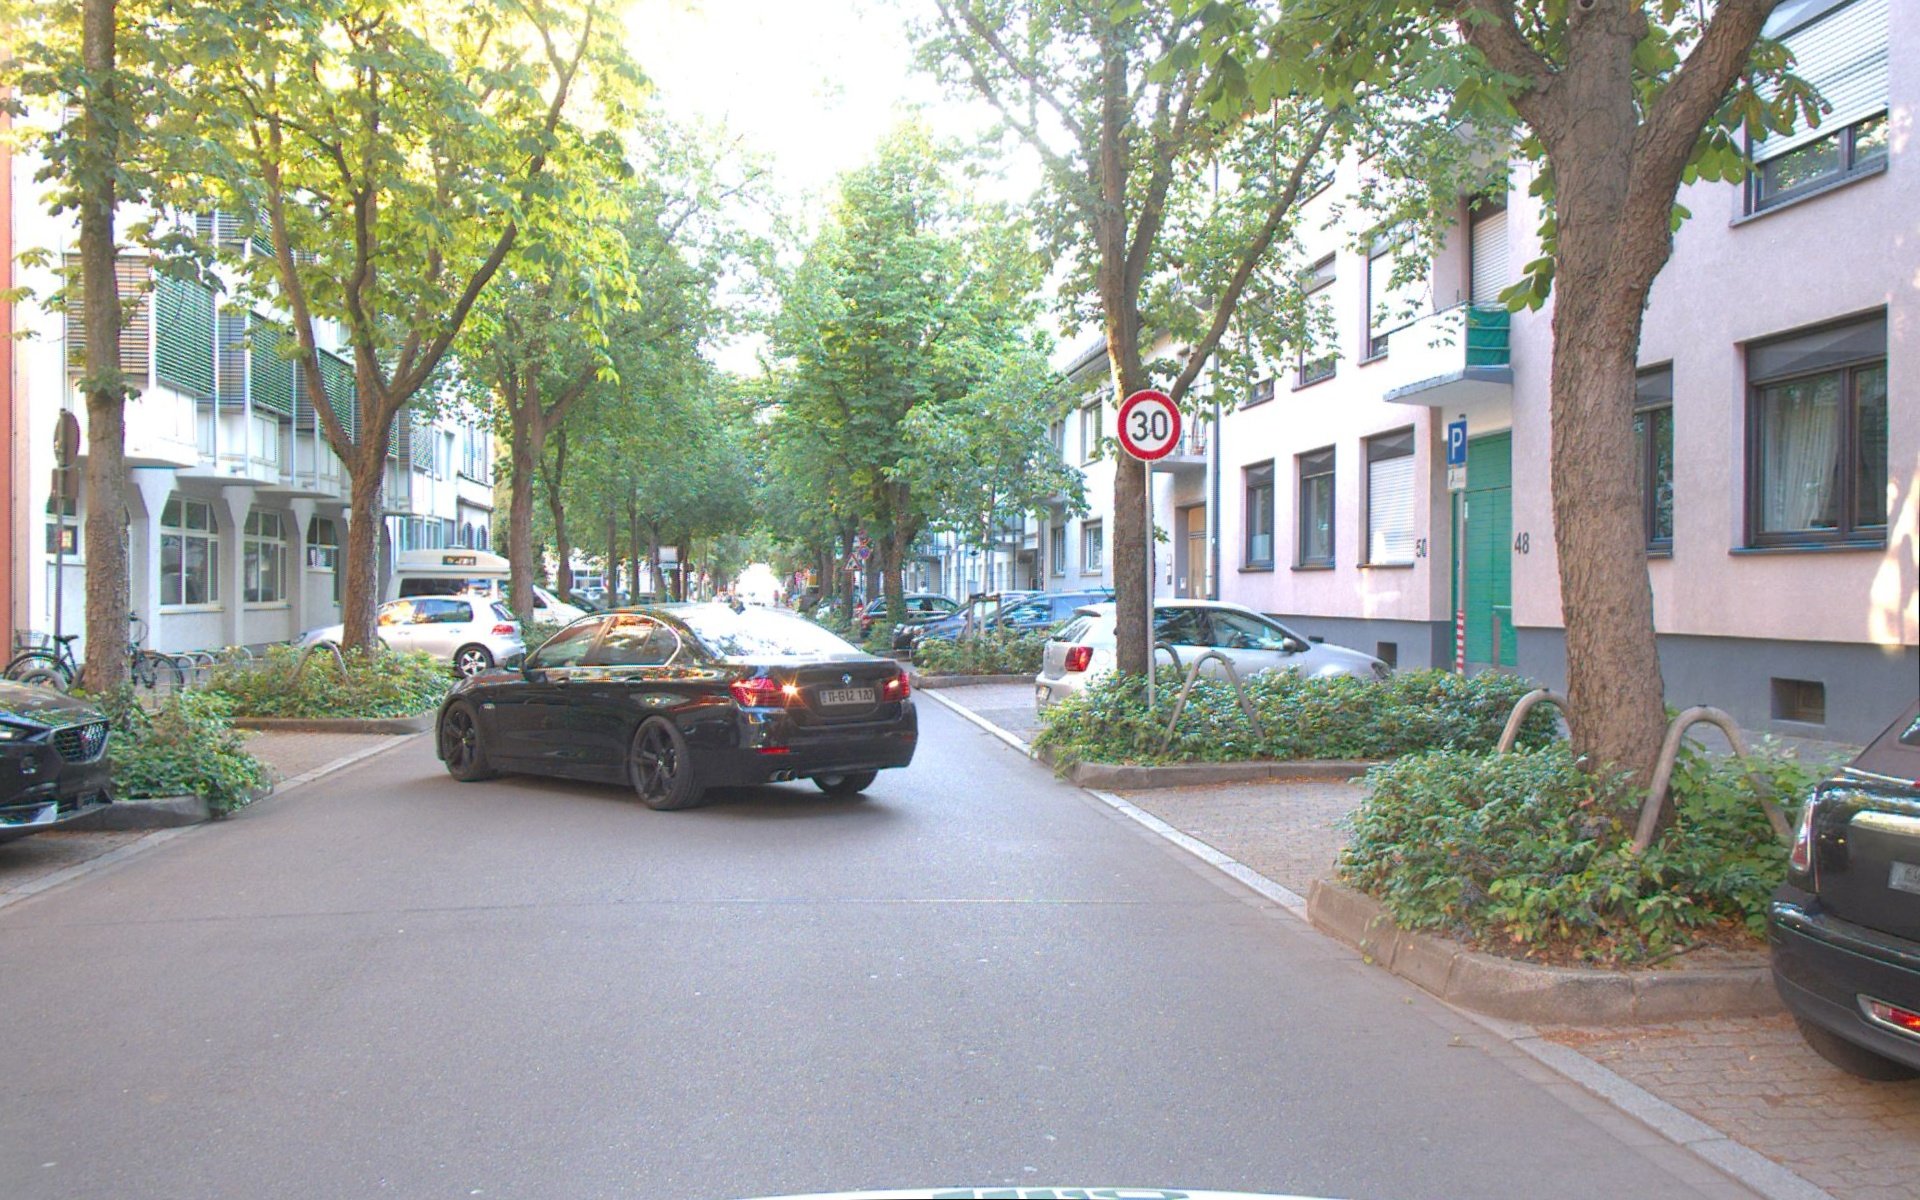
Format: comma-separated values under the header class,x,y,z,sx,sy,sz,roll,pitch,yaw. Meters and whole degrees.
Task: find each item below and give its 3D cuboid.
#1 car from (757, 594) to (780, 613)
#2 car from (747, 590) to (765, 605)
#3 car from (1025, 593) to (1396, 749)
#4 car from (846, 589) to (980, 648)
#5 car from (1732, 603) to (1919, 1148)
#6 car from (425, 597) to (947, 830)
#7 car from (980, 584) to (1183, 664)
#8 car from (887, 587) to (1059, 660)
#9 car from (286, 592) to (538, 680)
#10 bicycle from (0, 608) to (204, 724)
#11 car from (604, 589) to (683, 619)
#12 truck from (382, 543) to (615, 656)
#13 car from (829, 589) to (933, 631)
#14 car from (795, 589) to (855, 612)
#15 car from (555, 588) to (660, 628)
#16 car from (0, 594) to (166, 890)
class,x,y,z,sx,sy,sz,roll,pitch,yaw
car,-16.643,0.320,143.458,1.956,1.579,3.994,0,0,-7
car,-21.540,-0.249,174.930,1.858,1.500,3.995,0,0,-6
car,2.606,0.703,17.557,3.589,1.505,1.562,-1,0,-9
car,-1.335,0.501,46.384,3.589,1.563,1.562,-1,0,-9
car,4.391,0.689,4.803,3.638,1.452,1.622,-3,1,-12
car,-2.309,0.727,12.953,1.755,1.475,4.591,0,0,-44
car,2.279,0.435,31.414,3.589,1.417,1.562,-1,0,-9
car,0.279,0.514,37.710,3.722,1.556,1.562,-1,0,-9
car,-9.851,0.643,29.981,4.054,1.497,1.637,1,0,-8
bicycle,-9.383,0.706,18.124,1.939,1.220,0.499,0,0,-18
car,-16.556,0.206,86.653,3.945,1.497,1.637,1,0,-7
truck,-10.627,-0.033,38.402,4.903,2.483,1.914,1,1,-6
car,-2.841,0.353,59.300,3.589,1.417,1.562,-1,0,-9
car,-8.345,0.025,102.044,3.589,1.417,1.562,0,0,-9
car,-13.996,0.324,65.839,3.945,1.497,1.637,1,0,-7
car,-7.085,0.717,9.353,4.274,1.535,1.832,1,0,-7
